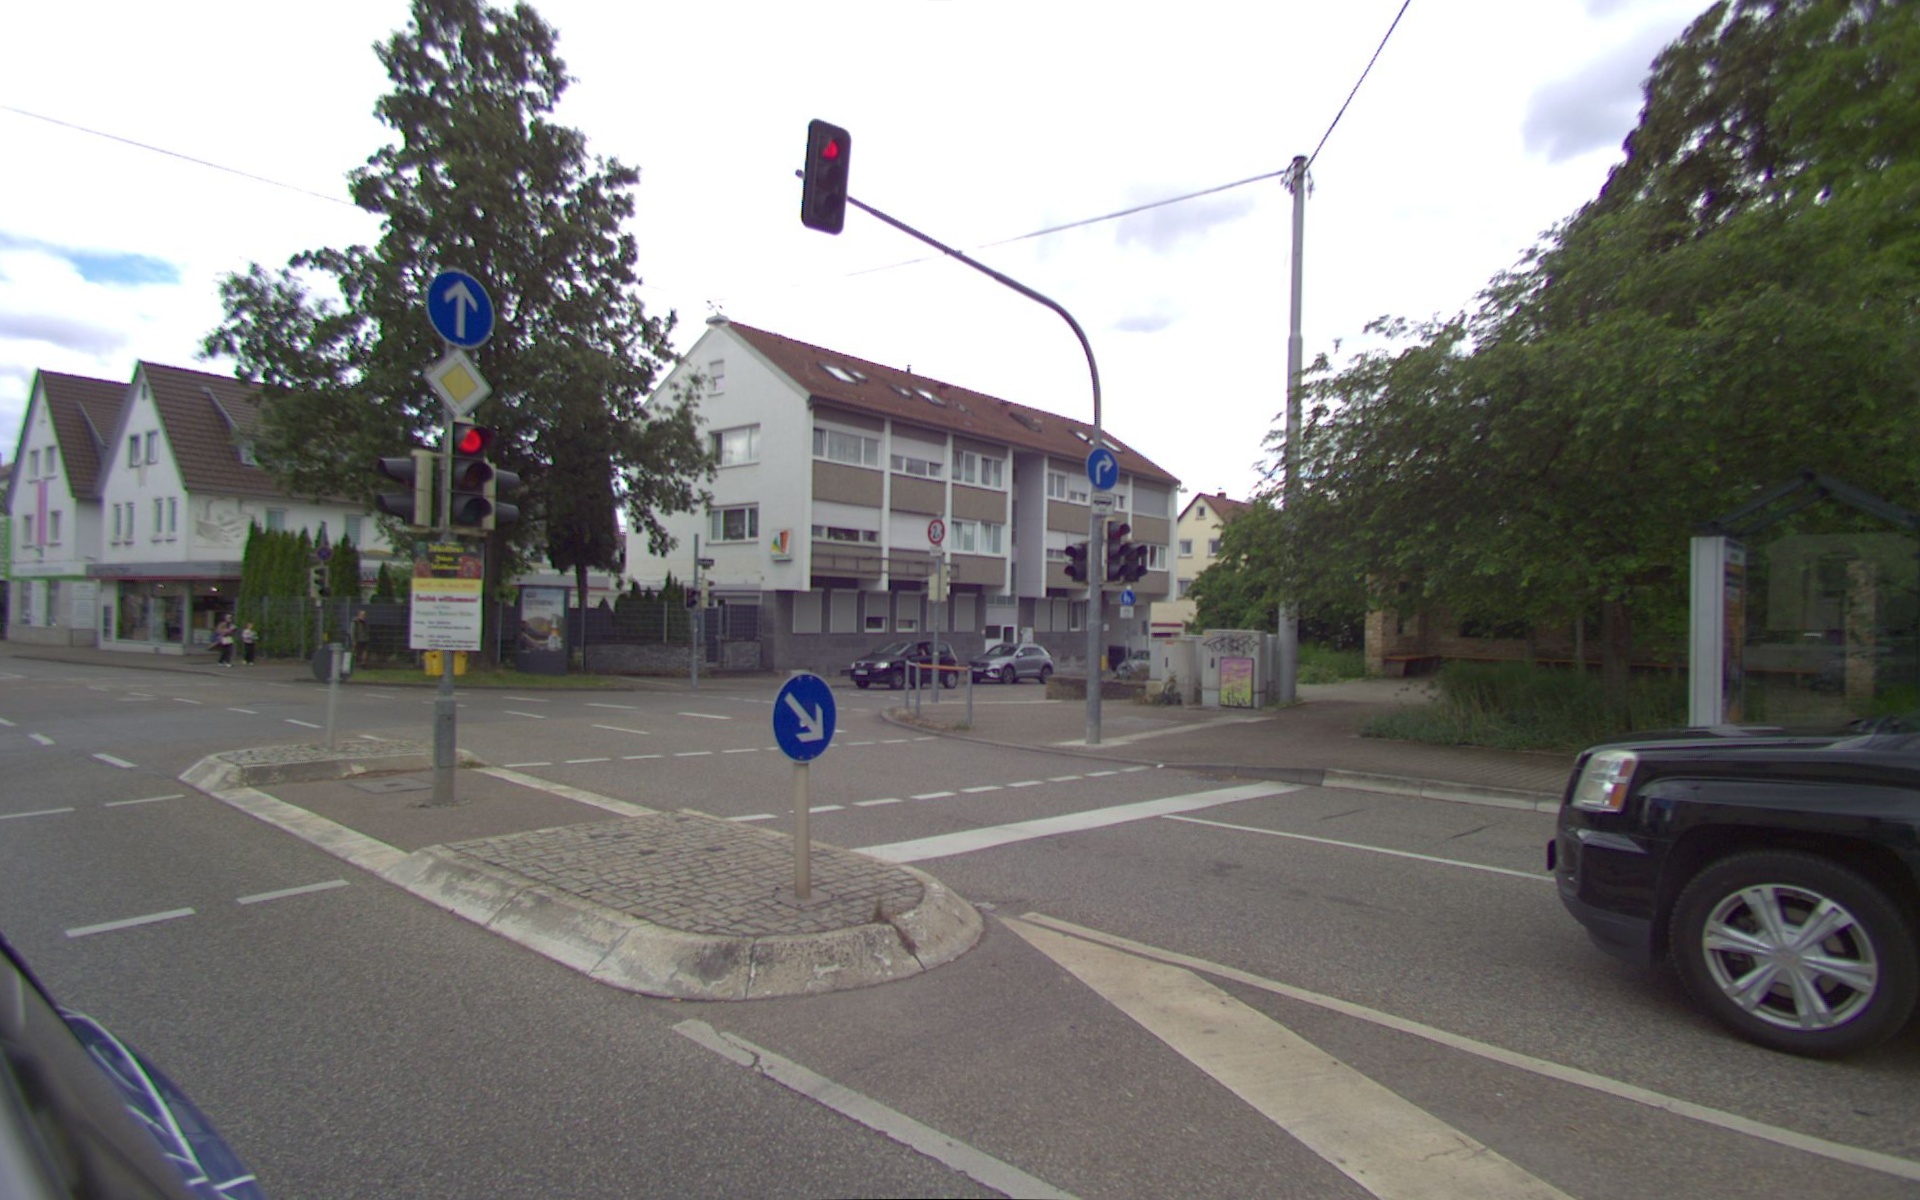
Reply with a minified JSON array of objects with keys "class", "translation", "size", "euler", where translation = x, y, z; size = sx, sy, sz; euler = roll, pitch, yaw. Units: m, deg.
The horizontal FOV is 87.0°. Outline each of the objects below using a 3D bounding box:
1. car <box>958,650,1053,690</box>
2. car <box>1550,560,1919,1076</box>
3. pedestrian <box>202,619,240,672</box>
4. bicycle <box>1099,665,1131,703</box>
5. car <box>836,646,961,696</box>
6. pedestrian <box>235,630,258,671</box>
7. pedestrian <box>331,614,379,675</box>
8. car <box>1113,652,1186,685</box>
[{"class":"car","translation":[1.805,2.735,39.321],"size":[1.756,1.409,3.594],"euler":[-2,-5,42]},{"class":"car","translation":[4.572,0.743,2.991],"size":[1.738,1.647,4.598],"euler":[5,-3,-45]},{"class":"pedestrian","translation":[-23.067,1.399,31.593],"size":[0.862,1.617,0.636],"euler":[0,0,25]},{"class":"bicycle","translation":[4.053,2.200,26.406],"size":[0.423,0.949,1.306],"euler":[0,-5,27]},{"class":"car","translation":[-1.824,2.138,30.827],"size":[1.771,1.409,3.594],"euler":[-2,-4,42]},{"class":"pedestrian","translation":[-22.554,1.589,32.009],"size":[0.547,1.271,0.379],"euler":[0,0,25]},{"class":"pedestrian","translation":[-18.235,1.315,30.508],"size":[1.227,1.767,0.814],"euler":[0,0,36]},{"class":"car","translation":[8.880,3.224,47.264],"size":[1.828,1.450,3.596],"euler":[-2,-6,40]}]
